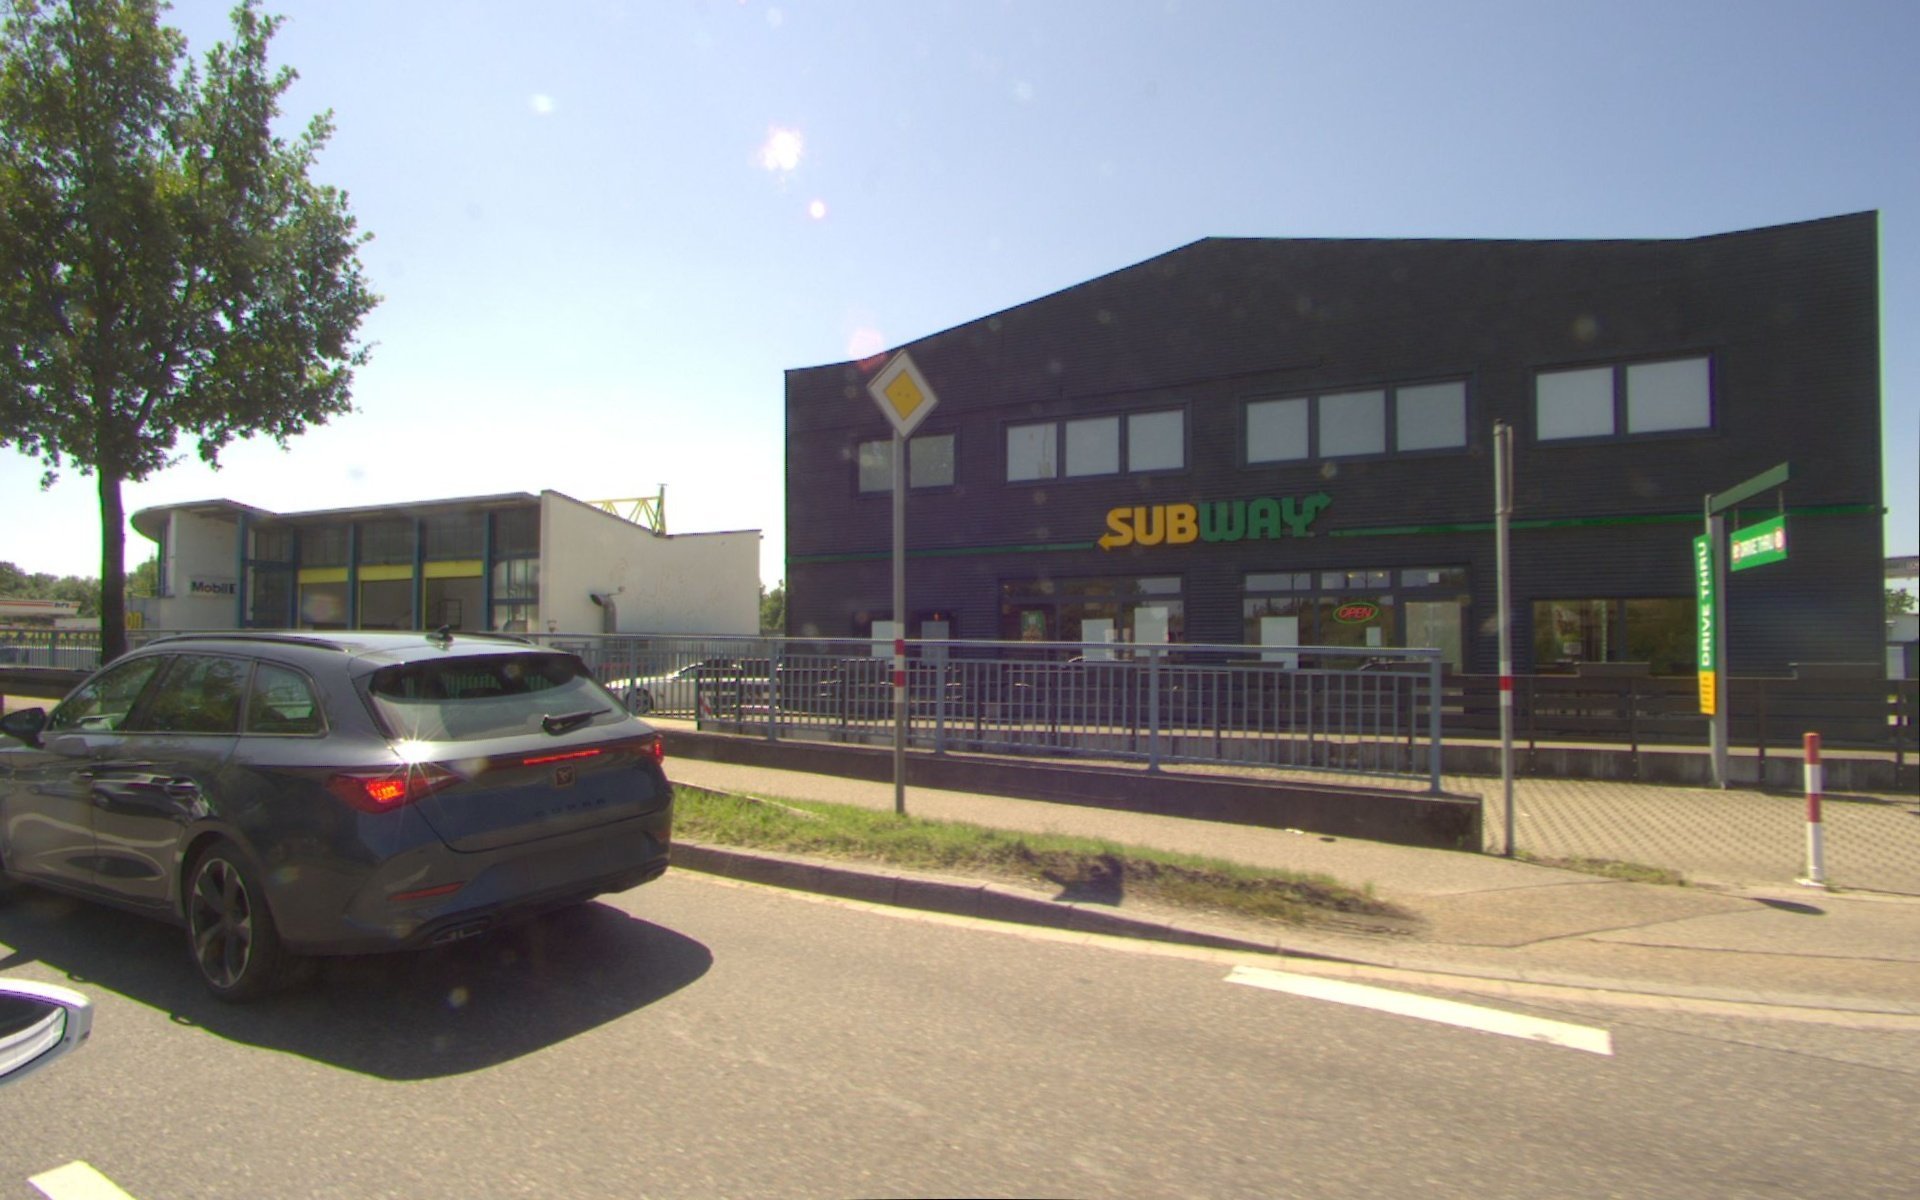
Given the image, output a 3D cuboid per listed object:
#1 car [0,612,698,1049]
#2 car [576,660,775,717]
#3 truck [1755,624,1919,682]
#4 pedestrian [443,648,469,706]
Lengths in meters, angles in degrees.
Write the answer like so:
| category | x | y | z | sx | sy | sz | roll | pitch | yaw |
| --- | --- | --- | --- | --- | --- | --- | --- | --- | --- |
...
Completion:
| category | x | y | z | sx | sy | sz | roll | pitch | yaw |
| --- | --- | --- | --- | --- | --- | --- | --- | --- | --- |
| car | -3.453 | 0.840 | 5.137 | 4.172 | 1.474 | 1.603 | -1 | -2 | 30 |
| car | -7.822 | 2.387 | 27.604 | 5.005 | 1.375 | 1.993 | 1 | -2 | -26 |
| truck | 44.343 | 2.636 | 50.624 | 5.991 | 2.825 | 2.652 | 0 | -2 | 6 |
| pedestrian | -15.203 | 2.321 | 30.214 | 0.580 | 1.724 | 0.426 | 0 | -1 | 25 |
